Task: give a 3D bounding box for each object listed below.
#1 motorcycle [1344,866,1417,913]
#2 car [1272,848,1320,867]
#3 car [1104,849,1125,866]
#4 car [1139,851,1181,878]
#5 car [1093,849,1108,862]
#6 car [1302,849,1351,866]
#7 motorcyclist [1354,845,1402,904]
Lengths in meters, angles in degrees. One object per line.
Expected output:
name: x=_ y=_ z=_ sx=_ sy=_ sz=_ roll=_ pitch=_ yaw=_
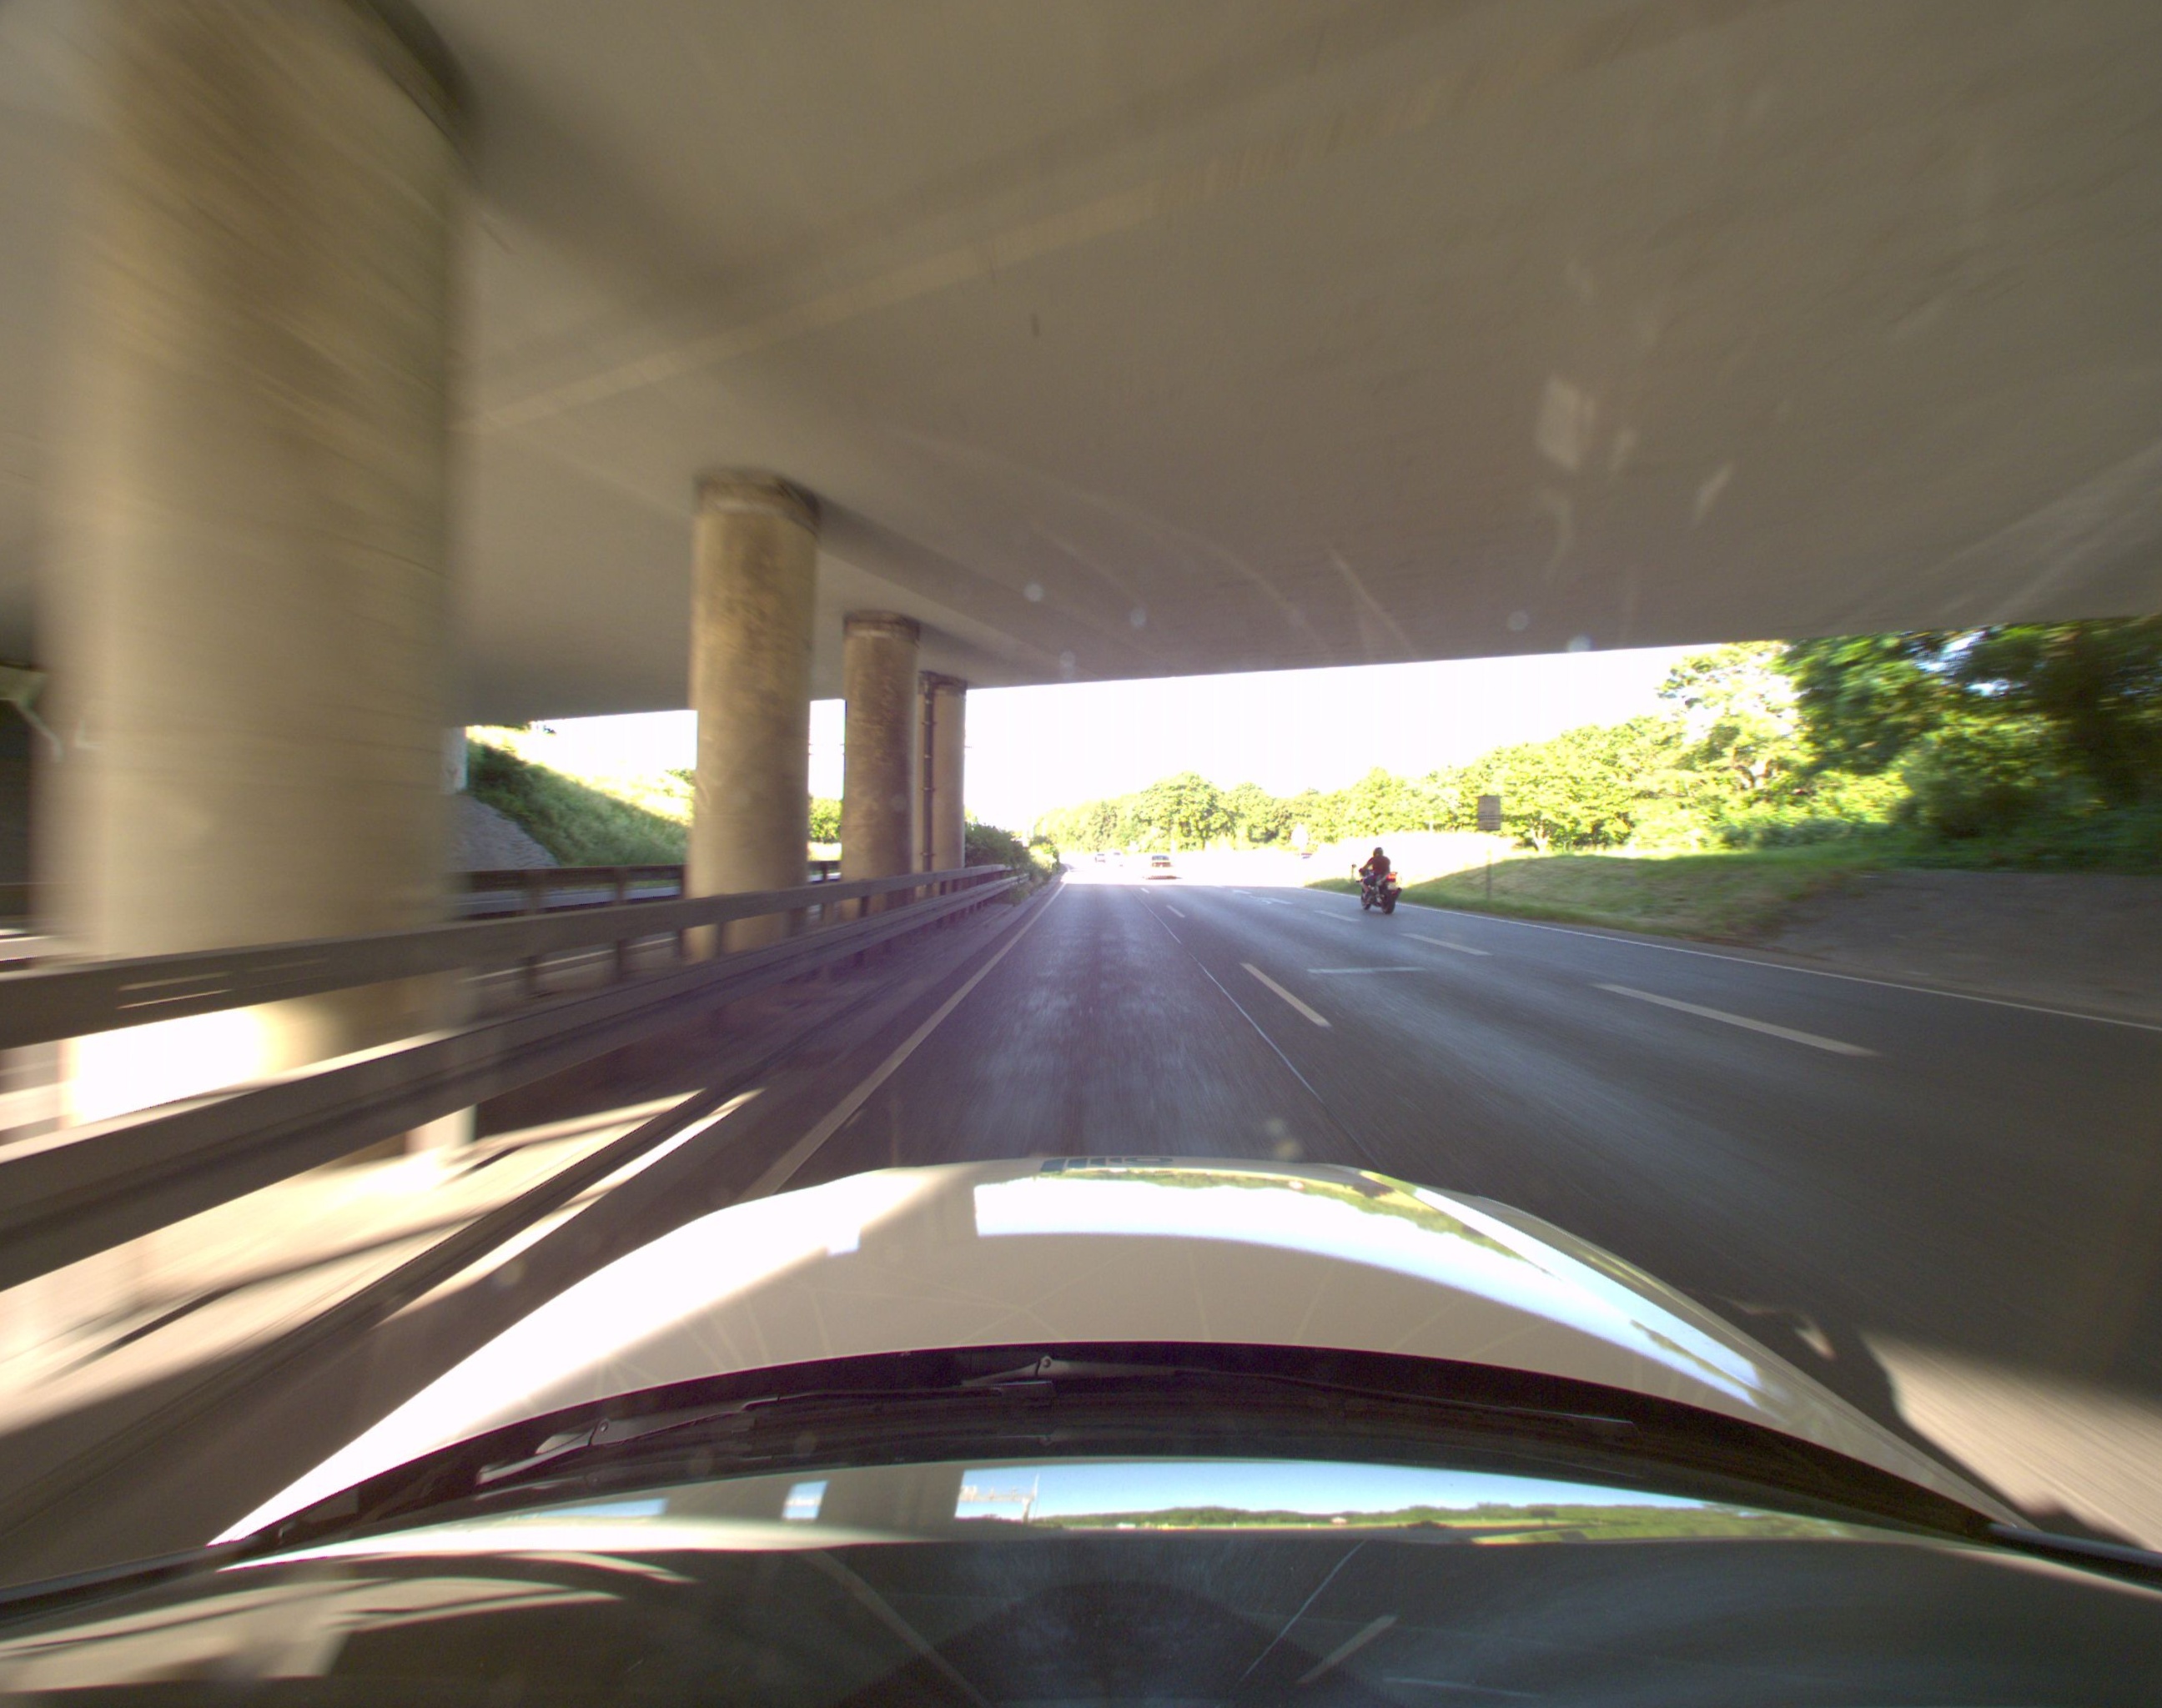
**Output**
motorcycle: x=7.512 y=0.857 z=20.592 sx=0.814 sy=1.069 sz=2.835 roll=0 pitch=0 yaw=0
car: x=23.882 y=0.374 z=90.526 sx=4.781 sy=2.023 sz=2.022 roll=0 pitch=-3 yaw=-6
car: x=3.745 y=0.384 z=91.145 sx=1.893 sy=1.767 sz=3.994 roll=-2 pitch=-1 yaw=-4
car: x=4.607 y=0.583 z=47.912 sx=1.893 sy=1.471 sz=3.996 roll=-1 pitch=1 yaw=-3
car: x=2.844 y=0.238 z=118.722 sx=1.892 sy=1.767 sz=3.998 roll=-1 pitch=0 yaw=-1
car: x=23.915 y=0.391 z=79.437 sx=4.103 sy=1.559 sz=1.920 roll=0 pitch=-3 yaw=-6
motorcyclist: x=7.511 y=0.496 z=20.647 sx=0.814 sy=1.447 sz=1.093 roll=0 pitch=0 yaw=0
